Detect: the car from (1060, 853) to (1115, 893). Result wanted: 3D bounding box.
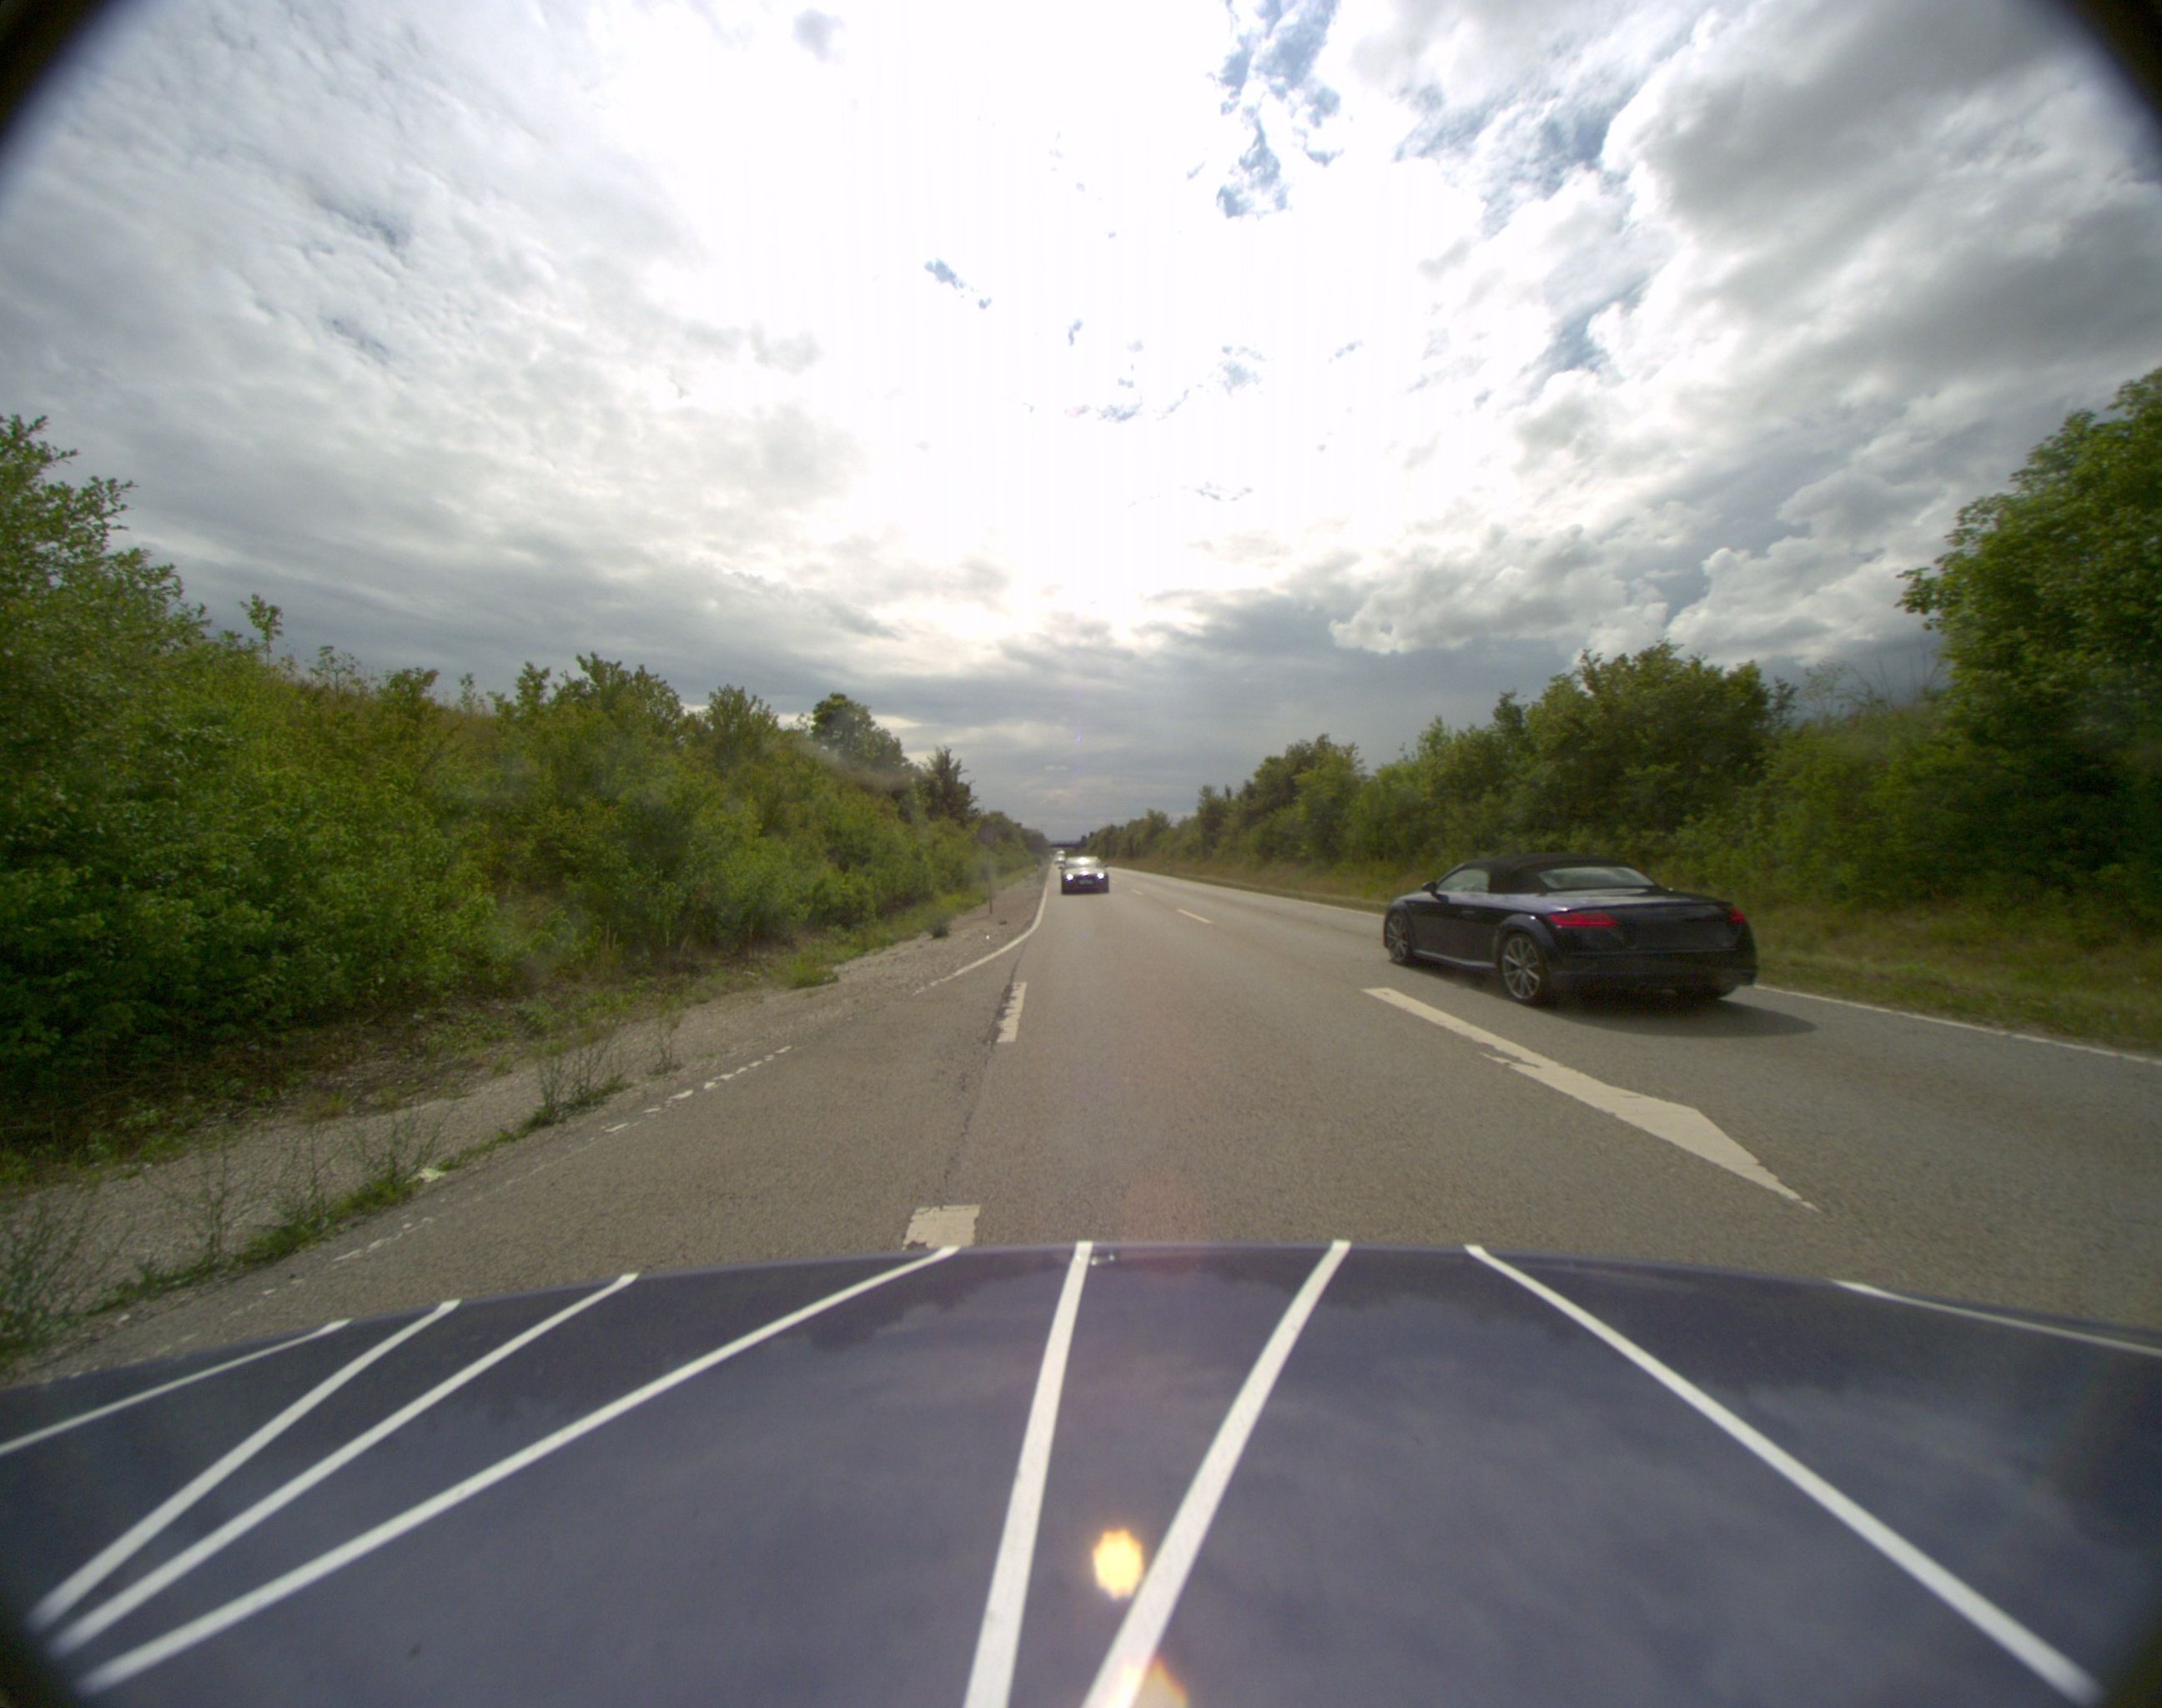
[{"bbox_3d":[0.188,0.729,31.510,1.999,1.436,4.639,-3,0,-2],"label":"car"}]

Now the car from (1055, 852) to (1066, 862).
[{"bbox_3d":[-3.667,0.533,135.411,1.871,1.597,3.999,-2,0,-2],"label":"car"}]

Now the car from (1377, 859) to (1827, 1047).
[{"bbox_3d":[4.709,0.755,7.709,1.705,1.322,3.999,-1,0,-2],"label":"car"}]
